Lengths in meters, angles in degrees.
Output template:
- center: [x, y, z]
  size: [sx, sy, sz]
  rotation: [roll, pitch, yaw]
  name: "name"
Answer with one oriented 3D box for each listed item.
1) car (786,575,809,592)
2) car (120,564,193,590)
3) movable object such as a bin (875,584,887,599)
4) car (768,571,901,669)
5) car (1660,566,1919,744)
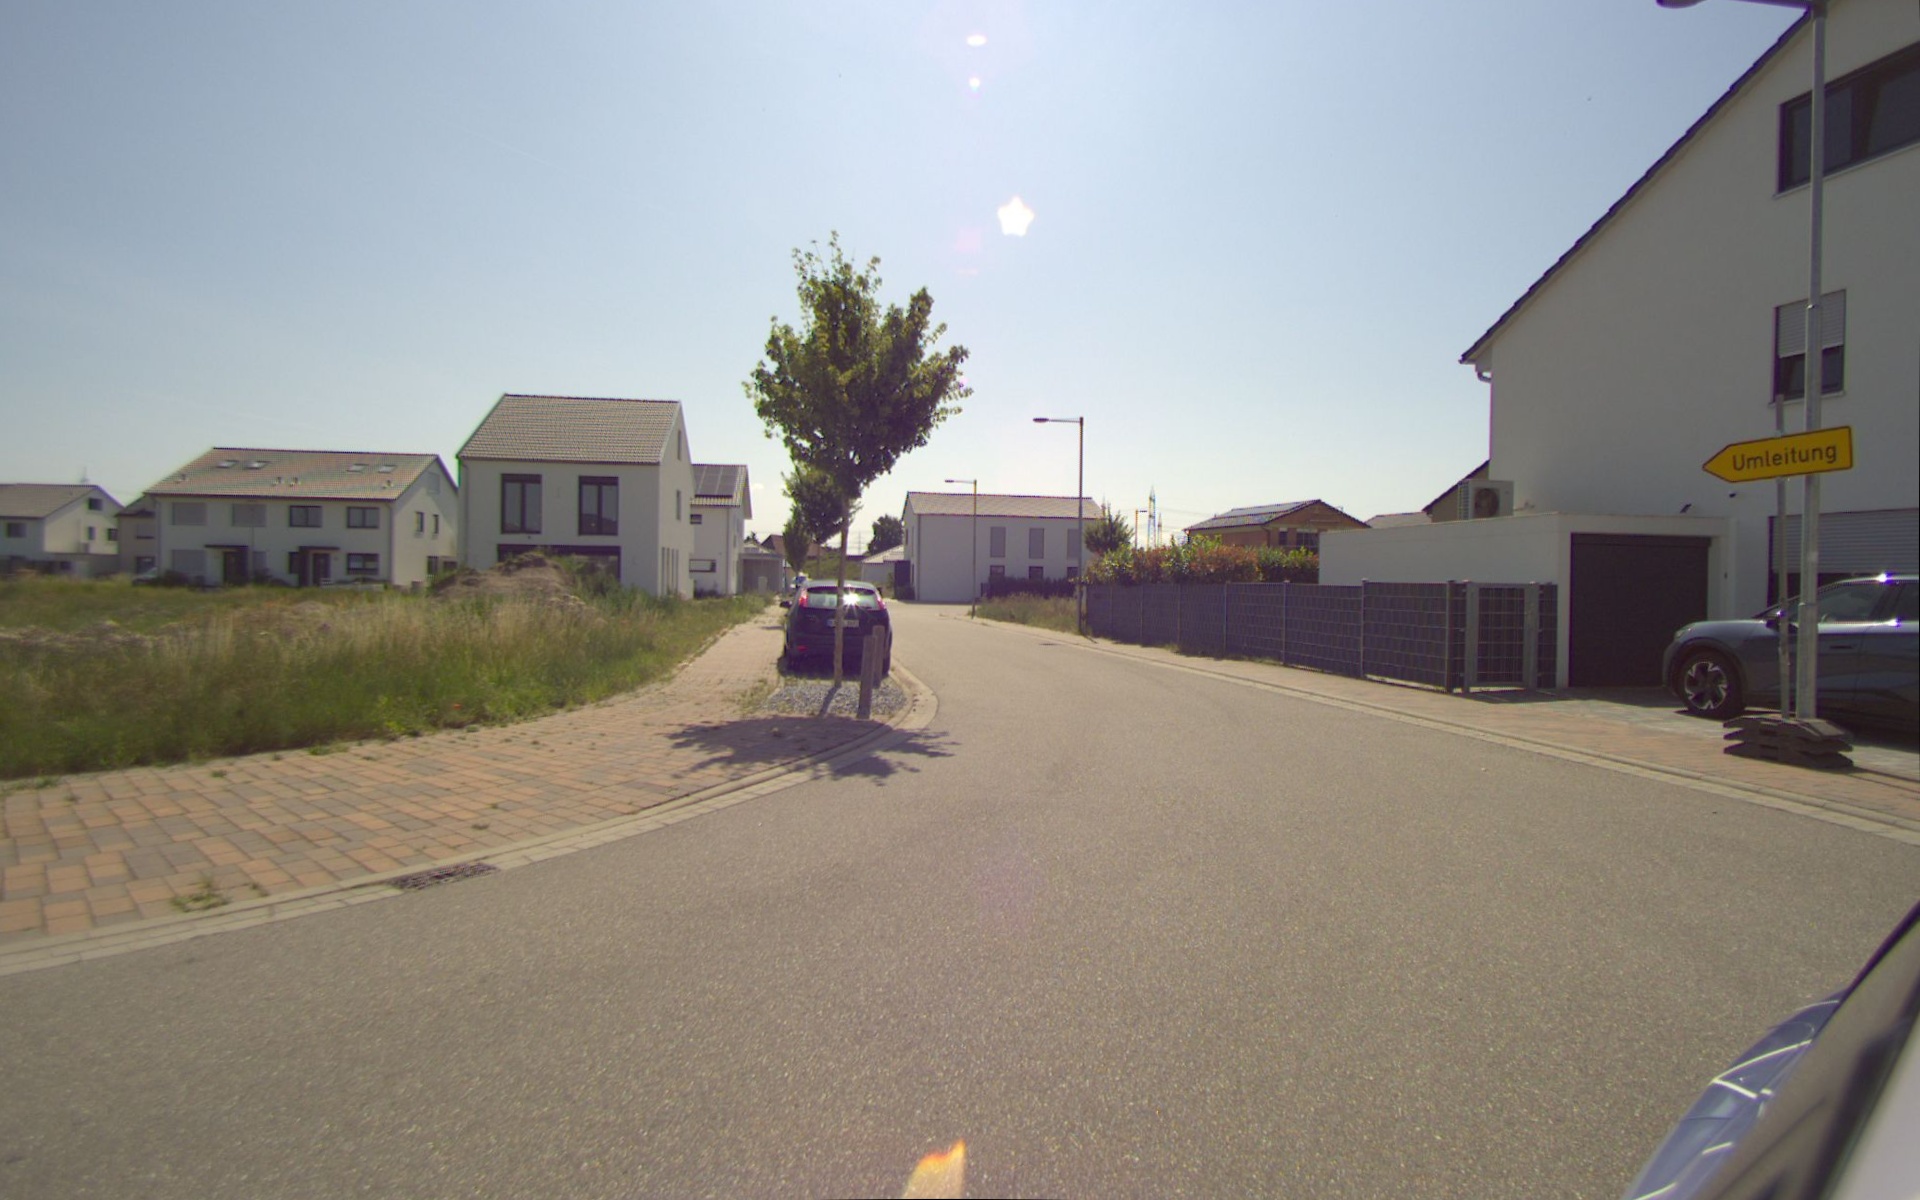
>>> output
- center: [-14.068, -1.451, 87.797]
  size: [1.886, 1.438, 4.428]
  rotation: [1, 1, -9]
  name: "car"
- center: [-51.862, -1.469, 65.442]
  size: [1.779, 1.593, 4.004]
  rotation: [1, 1, -4]
  name: "car"
- center: [-5.605, -0.609, 72.134]
  size: [0.791, 1.112, 0.673]
  rotation: [1, 1, -7]
  name: "movable object such as a bin"
- center: [-2.343, 0.277, 17.940]
  size: [1.811, 1.512, 4.203]
  rotation: [0, 1, -14]
  name: "car"
- center: [9.387, 0.497, 9.646]
  size: [1.920, 1.577, 4.359]
  rotation: [1, 1, -10]
  name: "car"
